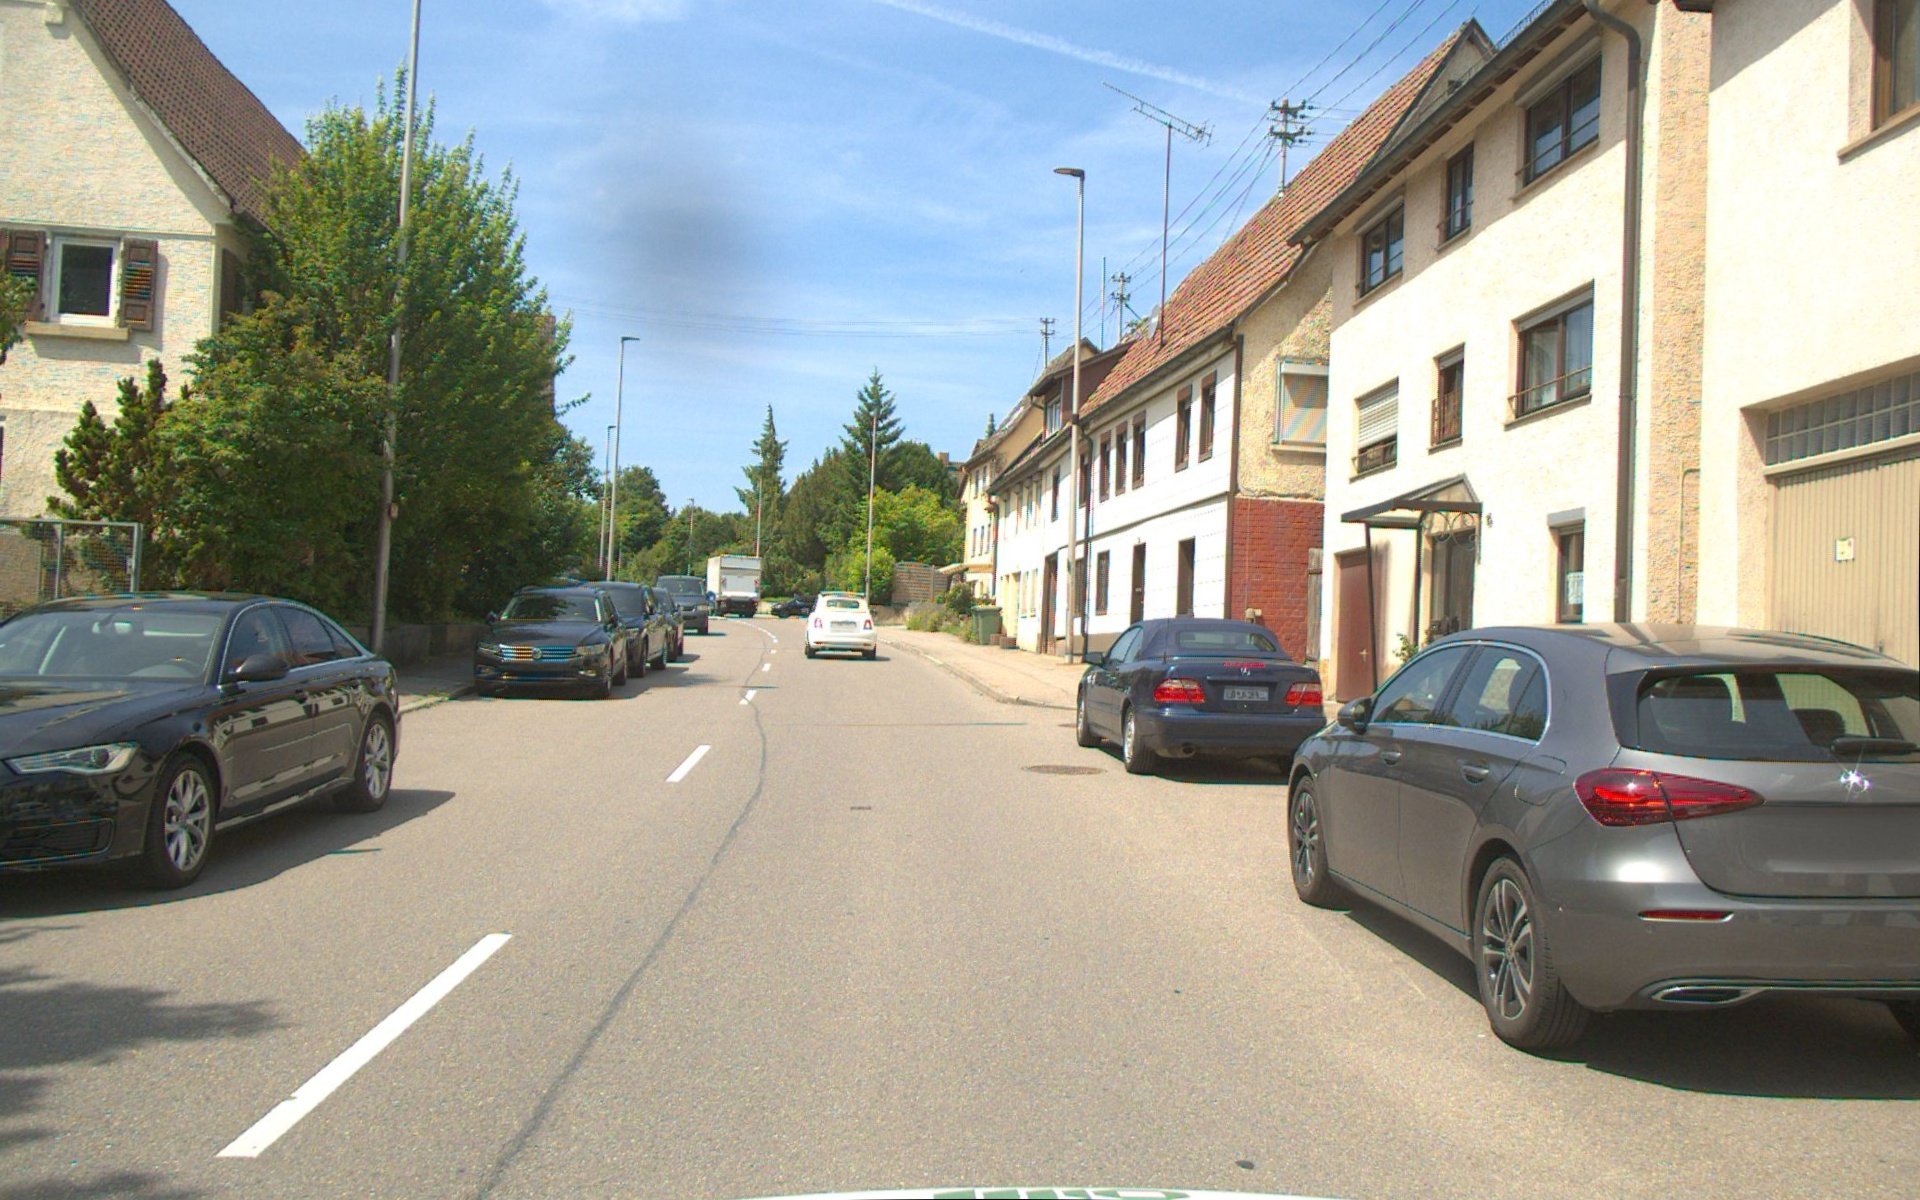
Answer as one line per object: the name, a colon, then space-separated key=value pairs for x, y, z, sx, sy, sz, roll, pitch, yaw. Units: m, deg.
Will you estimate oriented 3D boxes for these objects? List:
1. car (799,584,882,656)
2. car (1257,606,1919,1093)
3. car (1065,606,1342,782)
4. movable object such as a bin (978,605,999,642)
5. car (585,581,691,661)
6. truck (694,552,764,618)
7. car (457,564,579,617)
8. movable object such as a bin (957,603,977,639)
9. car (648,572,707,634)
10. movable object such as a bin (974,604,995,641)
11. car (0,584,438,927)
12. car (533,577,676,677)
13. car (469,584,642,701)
car: x=-2.885 y=0.453 z=39.158 sx=1.692 sy=1.587 sz=3.993 roll=1 pitch=0 yaw=-8
car: x=2.681 y=0.770 z=7.196 sx=1.758 sy=1.427 sz=4.409 roll=1 pitch=0 yaw=-3
car: x=2.176 y=0.800 z=15.912 sx=1.634 sy=1.376 sz=4.182 roll=3 pitch=0 yaw=-6
movable object such as a bin: x=0.810 y=0.666 z=47.622 sx=0.536 sy=1.051 sz=0.551 roll=0 pitch=0 yaw=-7
car: x=-6.638 y=0.379 z=34.498 sx=1.784 sy=1.499 sz=4.768 roll=2 pitch=0 yaw=-7
truck: x=-14.470 y=-0.888 z=102.920 sx=3.020 sy=3.840 sz=7.830 roll=2 pitch=-1 yaw=-17
car: x=-16.254 y=-0.342 z=60.948 sx=4.161 sy=1.429 sz=1.814 roll=7 pitch=-1 yaw=-15
movable object such as a bin: x=0.209 y=0.633 z=49.501 sx=0.536 sy=1.051 sz=0.551 roll=0 pitch=0 yaw=-7
car: x=-9.660 y=0.092 z=56.366 sx=1.857 sy=1.971 sz=4.973 roll=1 pitch=0 yaw=-10
movable object such as a bin: x=0.721 y=0.659 z=48.201 sx=0.536 sy=1.051 sz=0.551 roll=0 pitch=0 yaw=-7
car: x=-4.690 y=0.657 z=9.679 sx=1.768 sy=1.448 sz=4.927 roll=2 pitch=1 yaw=-1
car: x=-6.103 y=0.416 z=28.847 sx=1.720 sy=1.547 sz=4.298 roll=2 pitch=1 yaw=-3
car: x=-5.742 y=0.555 z=23.982 sx=1.754 sy=1.489 sz=4.706 roll=2 pitch=0 yaw=-6
